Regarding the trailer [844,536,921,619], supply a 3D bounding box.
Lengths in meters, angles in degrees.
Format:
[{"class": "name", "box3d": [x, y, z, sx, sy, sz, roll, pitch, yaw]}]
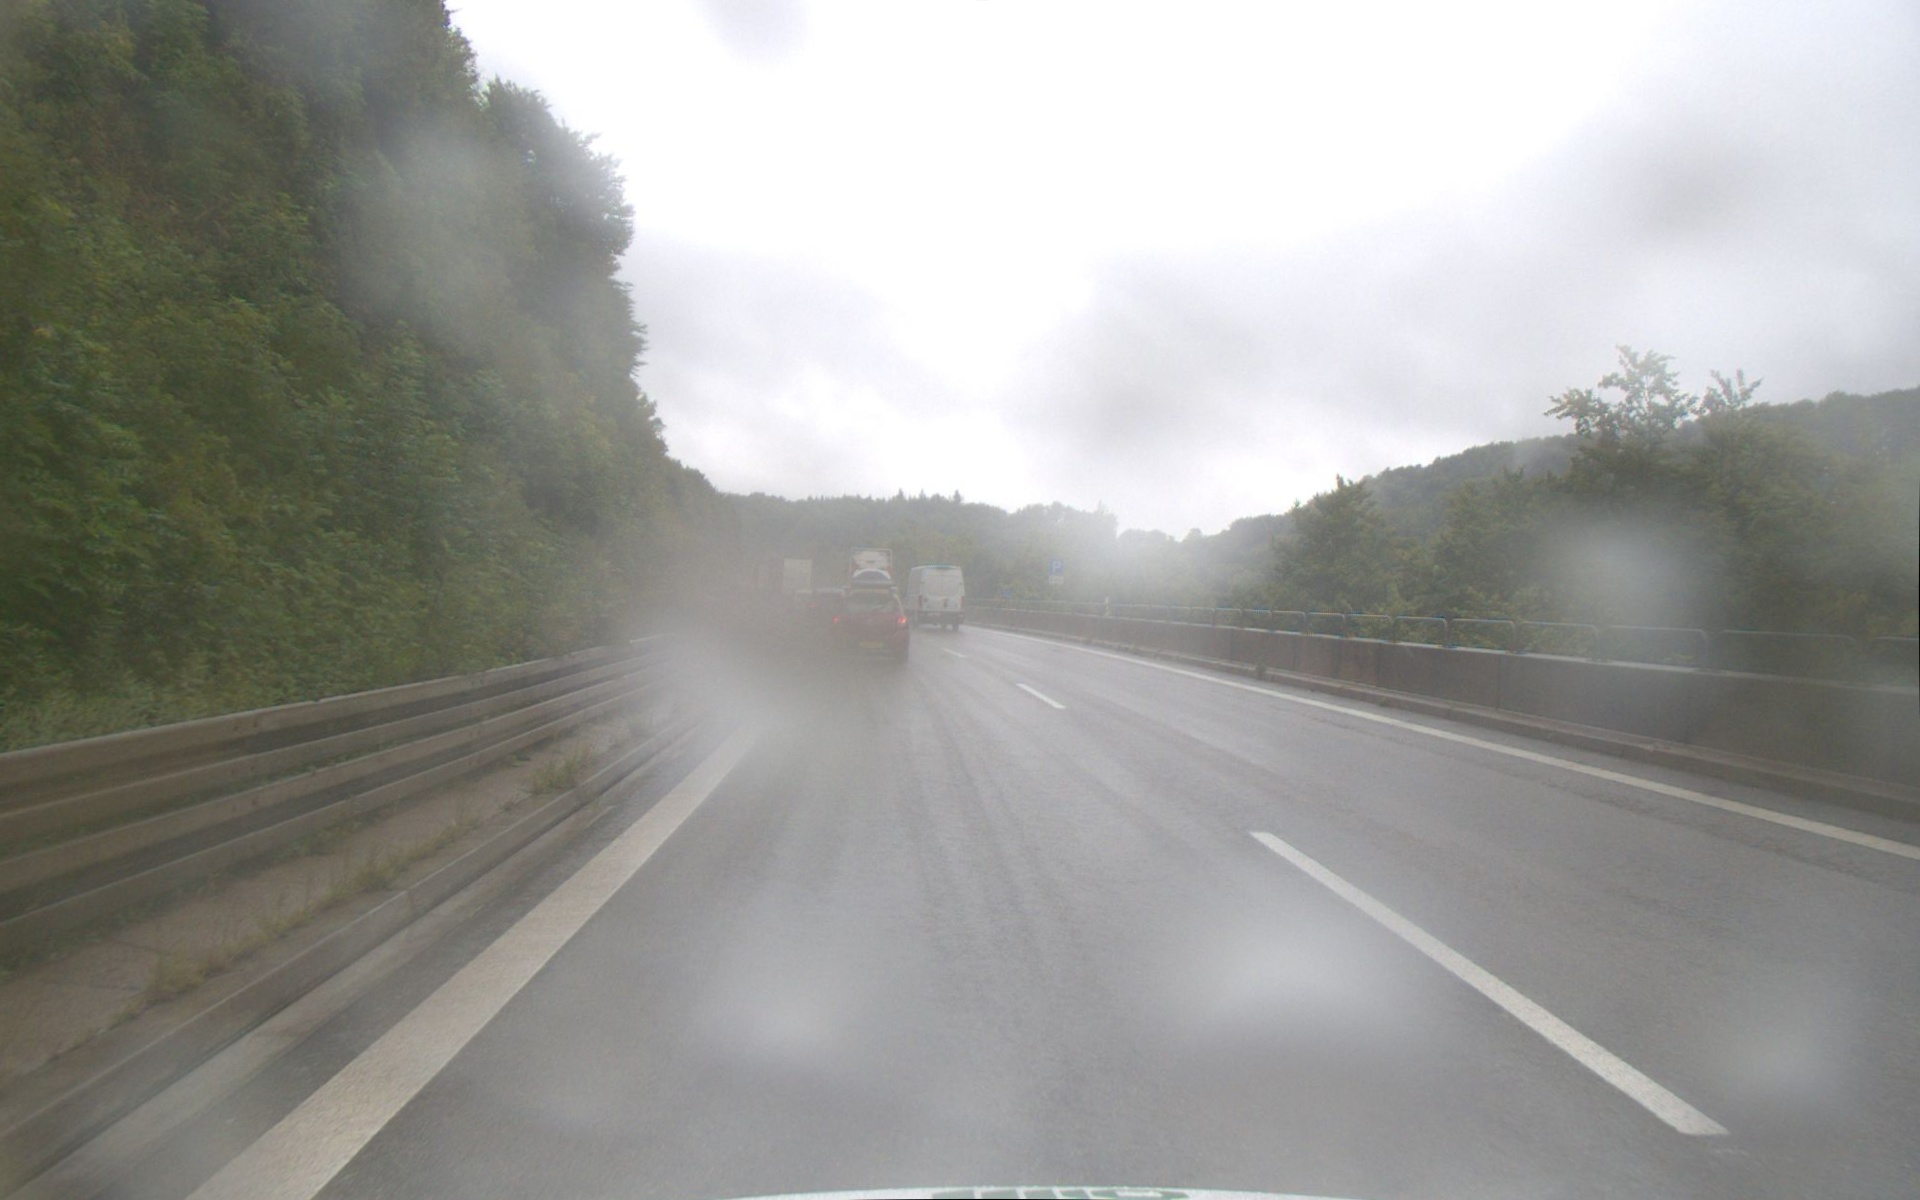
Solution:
[{"class": "trailer", "box3d": [-4.426, -1.194, 91.403, 3.157, 4.068, 13.504, 3, 0, -6]}]

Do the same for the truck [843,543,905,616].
[{"class": "truck", "box3d": [-5.177, -1.201, 98.160, 3.158, 4.047, 5.431, 3, 0, -7]}]

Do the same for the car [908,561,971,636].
[{"class": "car", "box3d": [-0.944, -0.068, 70.026, 2.163, 2.842, 7.377, 4, 0, -3]}]

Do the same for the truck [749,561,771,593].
[{"class": "truck", "box3d": [-22.081, -2.510, 182.447, 2.066, 3.480, 6.210, 1, 0, -9]}]

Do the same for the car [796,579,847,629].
[{"class": "car", "box3d": [-5.058, 0.150, 60.837, 1.787, 1.726, 3.997, 1, 0, -4]}]

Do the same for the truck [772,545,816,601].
[{"class": "truck", "box3d": [-14.750, -2.332, 146.544, 3.164, 4.764, 8.280, 1, 0, -10]}]

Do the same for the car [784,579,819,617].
[{"class": "car", "box3d": [-8.062, -0.089, 84.122, 1.683, 1.849, 3.887, 1, 0, -6]}]

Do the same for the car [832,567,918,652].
[{"class": "car", "box3d": [-1.876, 0.206, 36.003, 1.723, 1.714, 3.997, 1, 0, -4]}]
